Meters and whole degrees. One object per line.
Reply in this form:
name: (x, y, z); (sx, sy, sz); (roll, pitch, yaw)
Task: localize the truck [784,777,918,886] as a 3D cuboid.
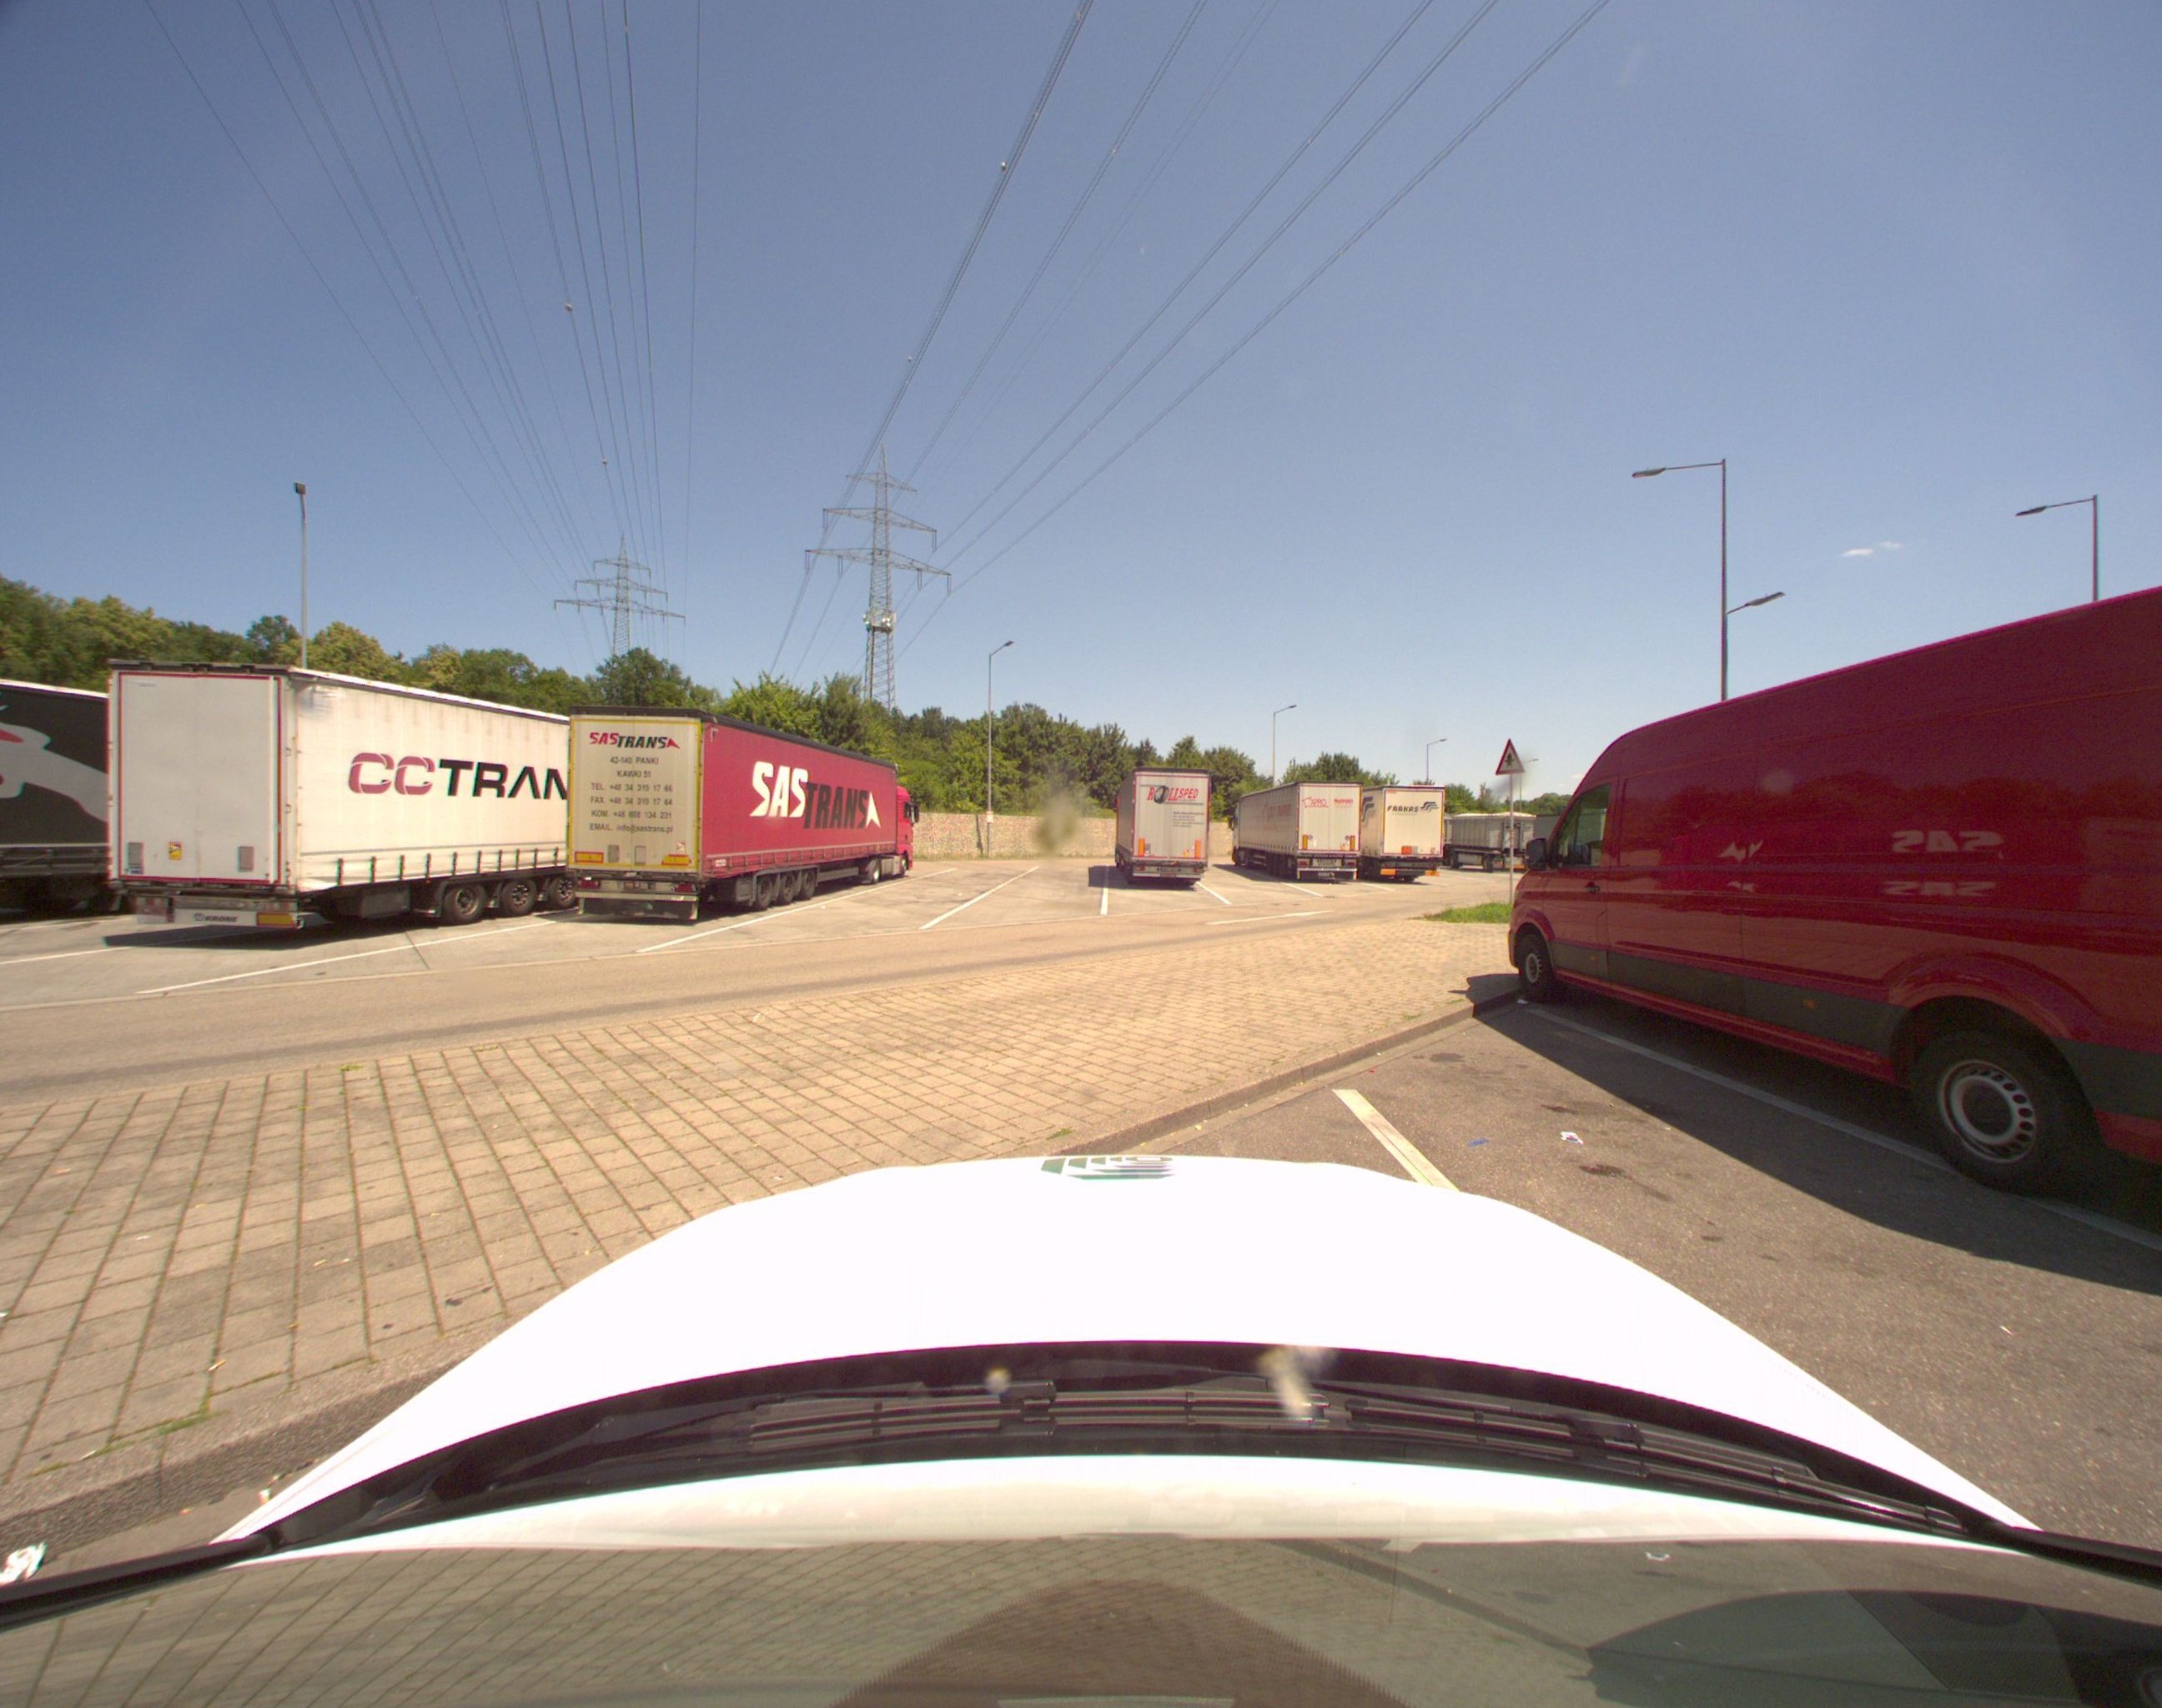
truck: (-7.830, -0.793, 28.539); (2.801, 3.362, 5.977); (1, 2, 2)

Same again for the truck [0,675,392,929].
truck: (-18.546, -0.938, 15.824); (2.696, 4.070, 8.694); (1, 2, 2)

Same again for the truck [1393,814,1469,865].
truck: (24.624, -1.077, 57.596); (2.855, 3.362, 5.977); (1, 2, 2)

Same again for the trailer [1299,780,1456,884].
trailer: (13.609, -1.091, 39.223); (2.847, 4.109, 13.770); (1, 2, 2)

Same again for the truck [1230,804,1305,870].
truck: (10.178, -0.974, 45.062); (2.855, 3.362, 5.977); (1, 2, 2)

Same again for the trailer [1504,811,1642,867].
trailer: (38.218, -1.290, 64.183); (2.847, 3.904, 13.770); (1, 2, 2)

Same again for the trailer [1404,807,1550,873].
trailer: (24.439, -0.990, 51.499); (2.847, 3.599, 13.770); (1, 2, 2)

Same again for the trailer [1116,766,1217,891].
trailer: (3.049, -1.046, 33.206); (2.848, 3.971, 13.767); (1, 2, 1)

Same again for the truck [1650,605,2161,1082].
truck: (8.007, -0.070, 6.884); (2.406, 2.906, 6.466); (-1, 0, 6)

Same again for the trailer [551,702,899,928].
trailer: (-8.044, -0.926, 21.722); (2.811, 4.070, 13.770); (1, 2, 2)

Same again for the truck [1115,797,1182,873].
truck: (3.139, -0.936, 39.408); (2.855, 3.362, 5.977); (1, 2, 2)

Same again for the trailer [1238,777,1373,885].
trailer: (9.981, -1.117, 38.298); (2.847, 4.109, 13.770); (1, 2, 2)

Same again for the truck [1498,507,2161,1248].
truck: (5.147, 0.080, 5.450); (2.001, 2.651, 6.466); (-1, 0, 6)

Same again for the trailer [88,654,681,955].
trailer: (-12.157, -0.841, 16.417); (2.696, 4.101, 10.395); (1, 2, 2)
